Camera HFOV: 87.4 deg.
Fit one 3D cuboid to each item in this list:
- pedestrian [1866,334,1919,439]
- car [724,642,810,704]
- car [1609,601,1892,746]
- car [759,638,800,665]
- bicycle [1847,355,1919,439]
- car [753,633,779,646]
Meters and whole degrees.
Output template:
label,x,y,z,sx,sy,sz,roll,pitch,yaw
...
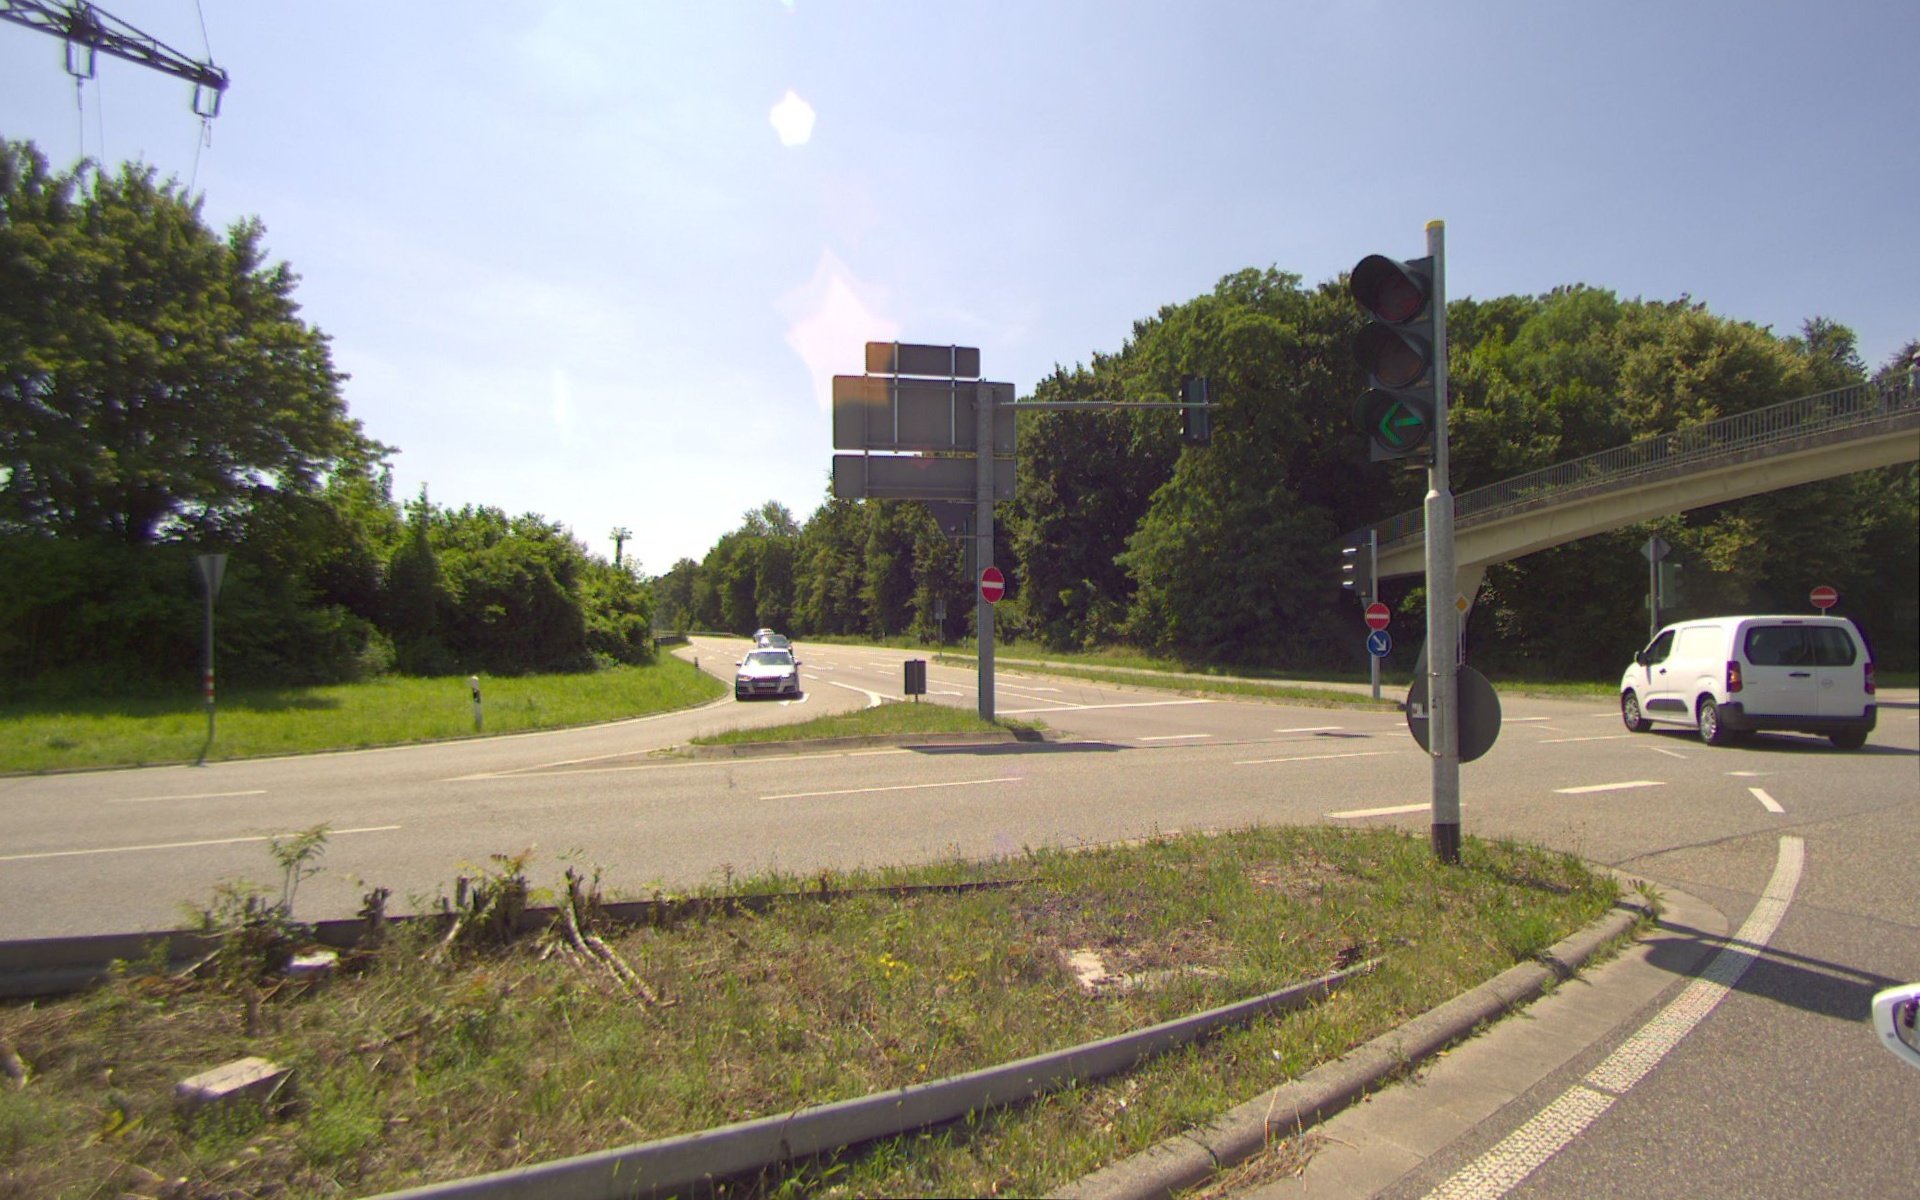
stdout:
label,x,y,z,sx,sy,sz,roll,pitch,yaw
pedestrian,21.618,-4.878,23.056,0.915,2.167,0.783,2,-3,-11
car,-5.811,2.176,30.787,2.009,1.596,4.663,-2,-1,-4
car,11.575,1.095,15.105,1.818,1.849,3.984,-3,-4,15
car,-11.113,3.135,61.547,1.715,1.552,4.148,-3,-1,-21
bicycle,21.251,-4.594,22.907,0.461,1.493,1.529,2,-4,-11
car,-21.284,4.352,109.986,1.970,1.391,4.759,1,-2,-21
